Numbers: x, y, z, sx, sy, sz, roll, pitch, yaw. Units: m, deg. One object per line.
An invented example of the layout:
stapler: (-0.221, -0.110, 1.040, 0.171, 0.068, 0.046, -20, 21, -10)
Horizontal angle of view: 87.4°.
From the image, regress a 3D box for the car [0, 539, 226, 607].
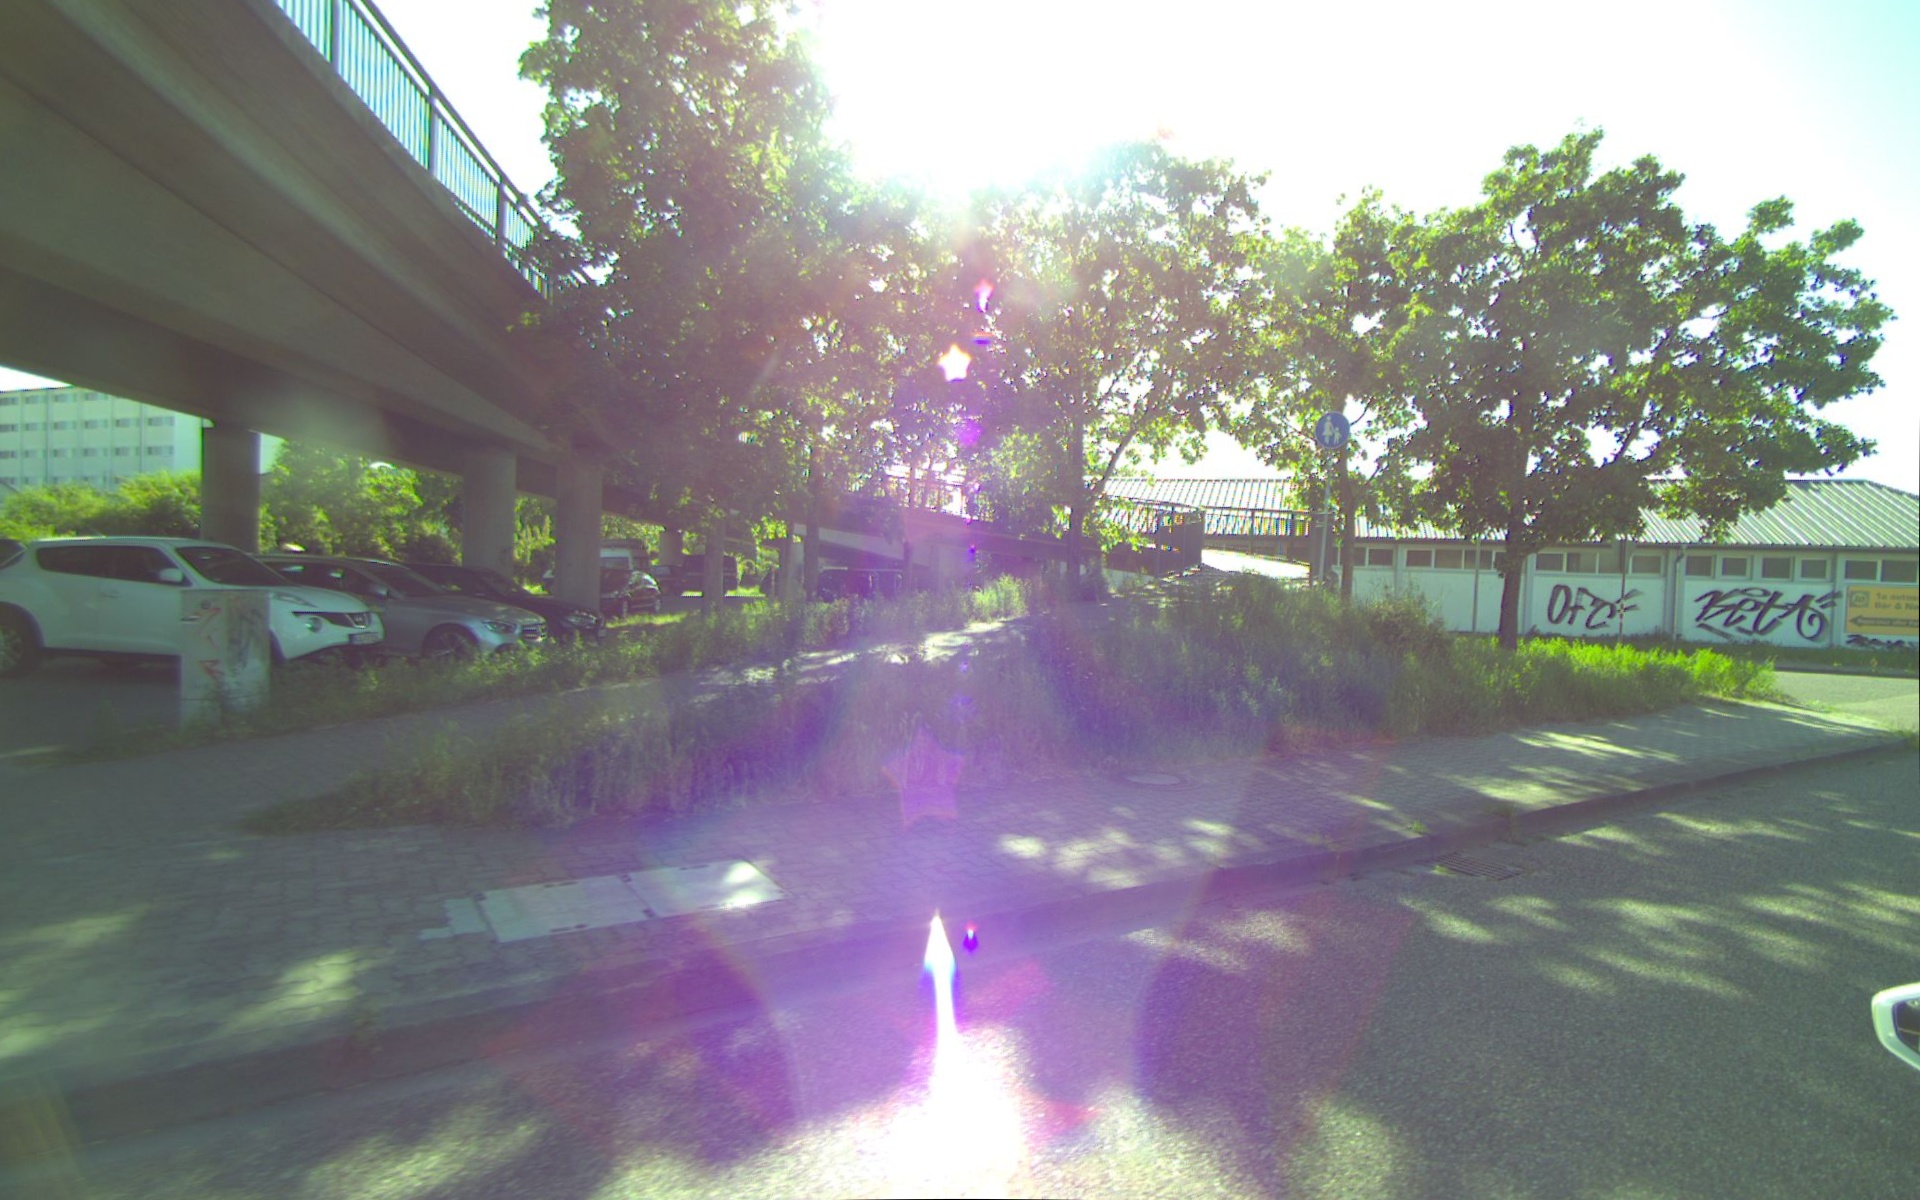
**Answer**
car: (-20.801, -0.658, 24.721, 4.166, 1.461, 1.740, 2, 1, 0)

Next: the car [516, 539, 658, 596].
car: (-18.168, -1.573, 49.015, 6.275, 2.540, 2.001, 2, 1, 8)

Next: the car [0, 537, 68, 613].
car: (-20.490, -0.565, 19.838, 4.166, 1.461, 1.740, 2, 1, 0)

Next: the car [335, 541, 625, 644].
car: (-8.289, -0.129, 17.651, 4.216, 1.573, 1.682, 2, 1, -4)

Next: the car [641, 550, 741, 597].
car: (-15.446, -1.521, 57.768, 5.098, 2.507, 2.001, 2, 1, 13)

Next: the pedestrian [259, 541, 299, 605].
pedestrian: (-18.358, -0.718, 27.066, 0.698, 1.685, 0.666, 3, 1, 35)

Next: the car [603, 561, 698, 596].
car: (-16.537, -1.137, 53.783, 4.394, 1.666, 2.001, 2, 1, 8)

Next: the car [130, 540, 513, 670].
car: (-8.809, 0.070, 14.155, 4.216, 1.573, 1.682, 2, 1, -4)

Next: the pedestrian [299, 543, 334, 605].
pedestrian: (-17.979, -0.726, 28.072, 0.700, 1.685, 0.665, 2, 1, -23)

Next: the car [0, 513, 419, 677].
car: (-8.843, -0.028, 11.526, 4.197, 1.663, 1.870, 1, -2, 0)

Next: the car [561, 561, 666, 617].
car: (-10.756, -0.338, 31.493, 1.650, 1.573, 4.299, 2, 1, 1)
